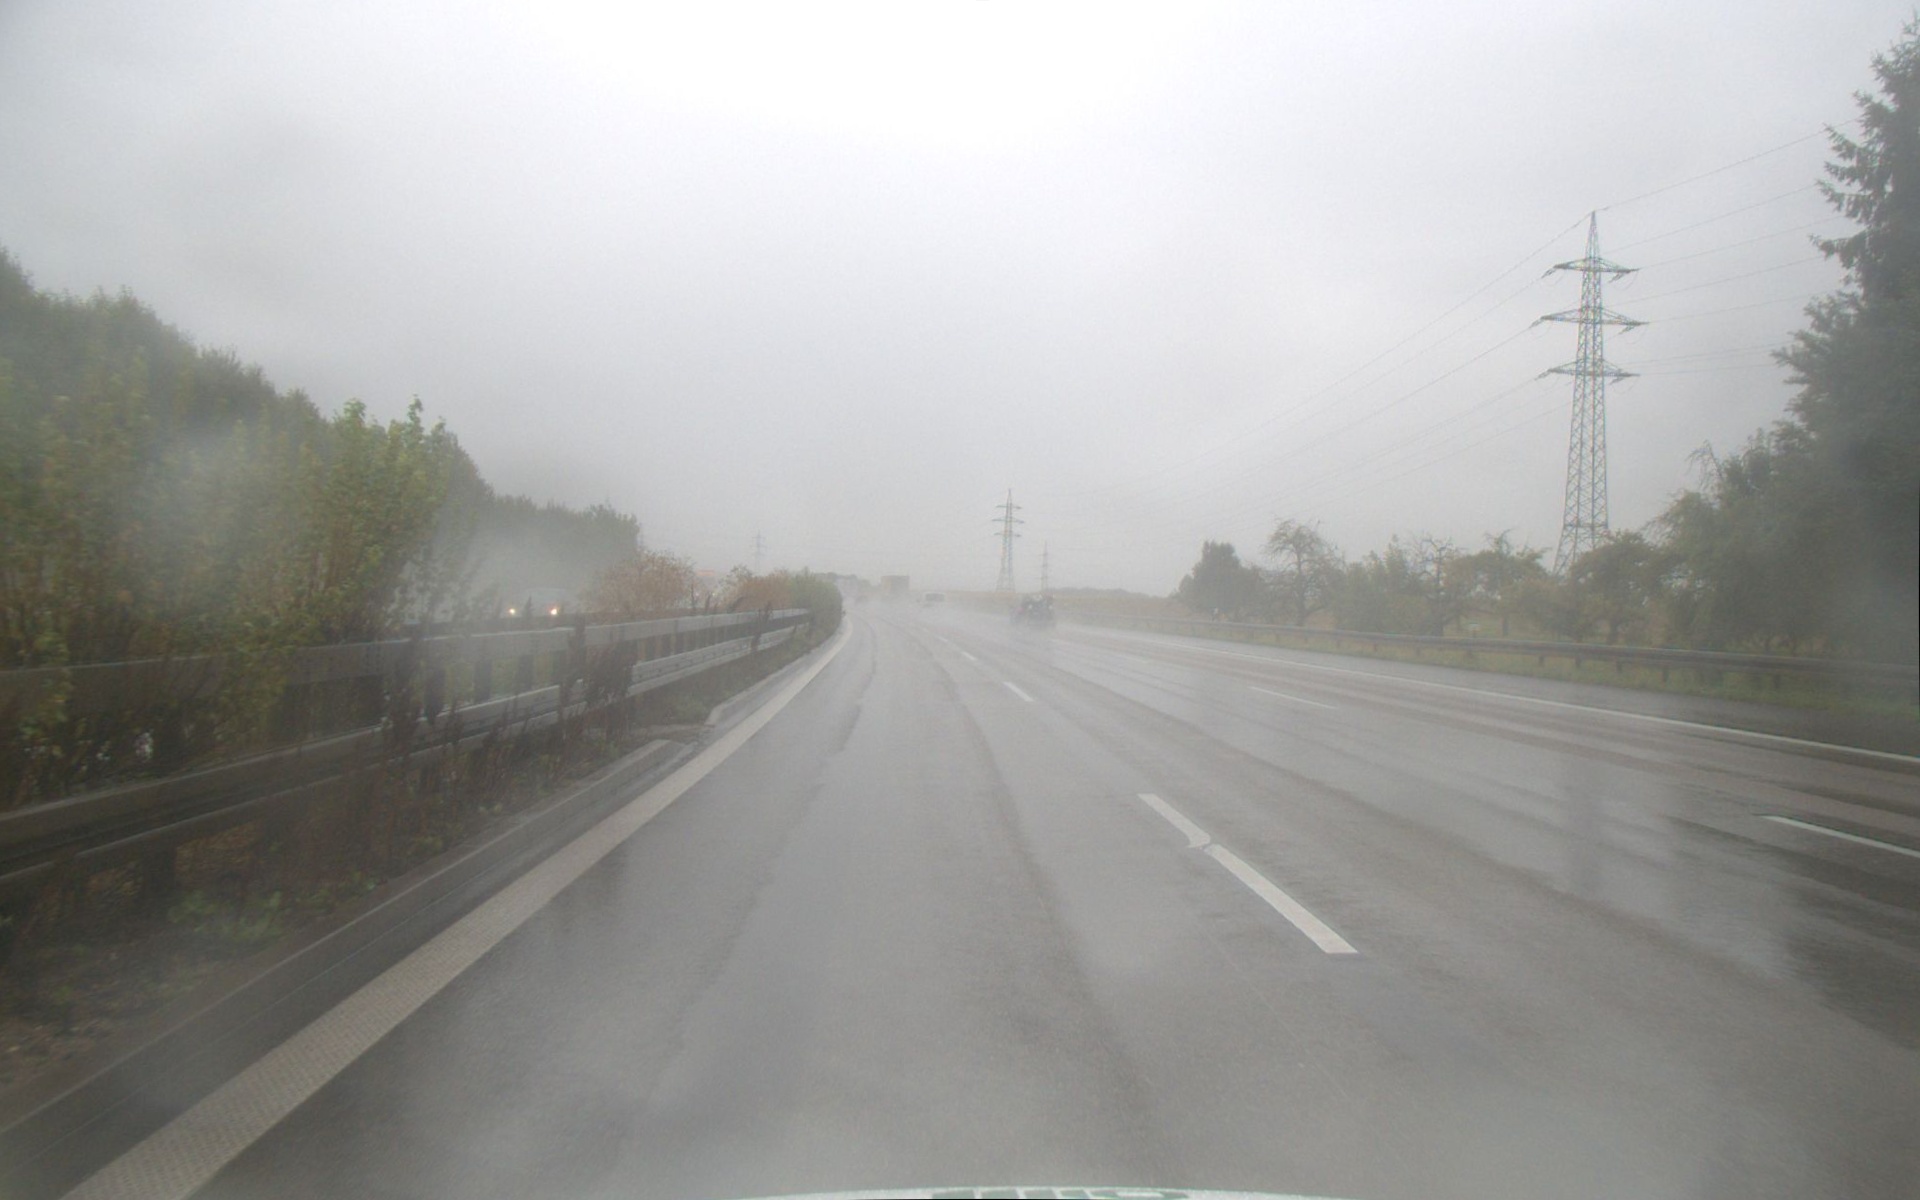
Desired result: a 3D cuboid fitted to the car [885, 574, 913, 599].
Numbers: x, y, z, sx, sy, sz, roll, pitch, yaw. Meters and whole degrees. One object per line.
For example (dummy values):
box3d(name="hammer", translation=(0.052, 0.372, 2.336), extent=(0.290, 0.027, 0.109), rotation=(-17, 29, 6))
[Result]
box3d(name="car", translation=(-8.197, -1.758, 221.715), extent=(3.139, 3.248, 7.245), rotation=(1, 0, -7))

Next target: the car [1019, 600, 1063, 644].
box3d(name="car", translation=(4.249, 1.128, 87.085), extent=(1.771, 2.196, 3.996), rotation=(1, 0, -5))

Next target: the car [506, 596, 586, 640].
box3d(name="car", translation=(-14.707, 0.629, 59.001), extent=(1.953, 1.489, 3.998), rotation=(2, 0, -2))
